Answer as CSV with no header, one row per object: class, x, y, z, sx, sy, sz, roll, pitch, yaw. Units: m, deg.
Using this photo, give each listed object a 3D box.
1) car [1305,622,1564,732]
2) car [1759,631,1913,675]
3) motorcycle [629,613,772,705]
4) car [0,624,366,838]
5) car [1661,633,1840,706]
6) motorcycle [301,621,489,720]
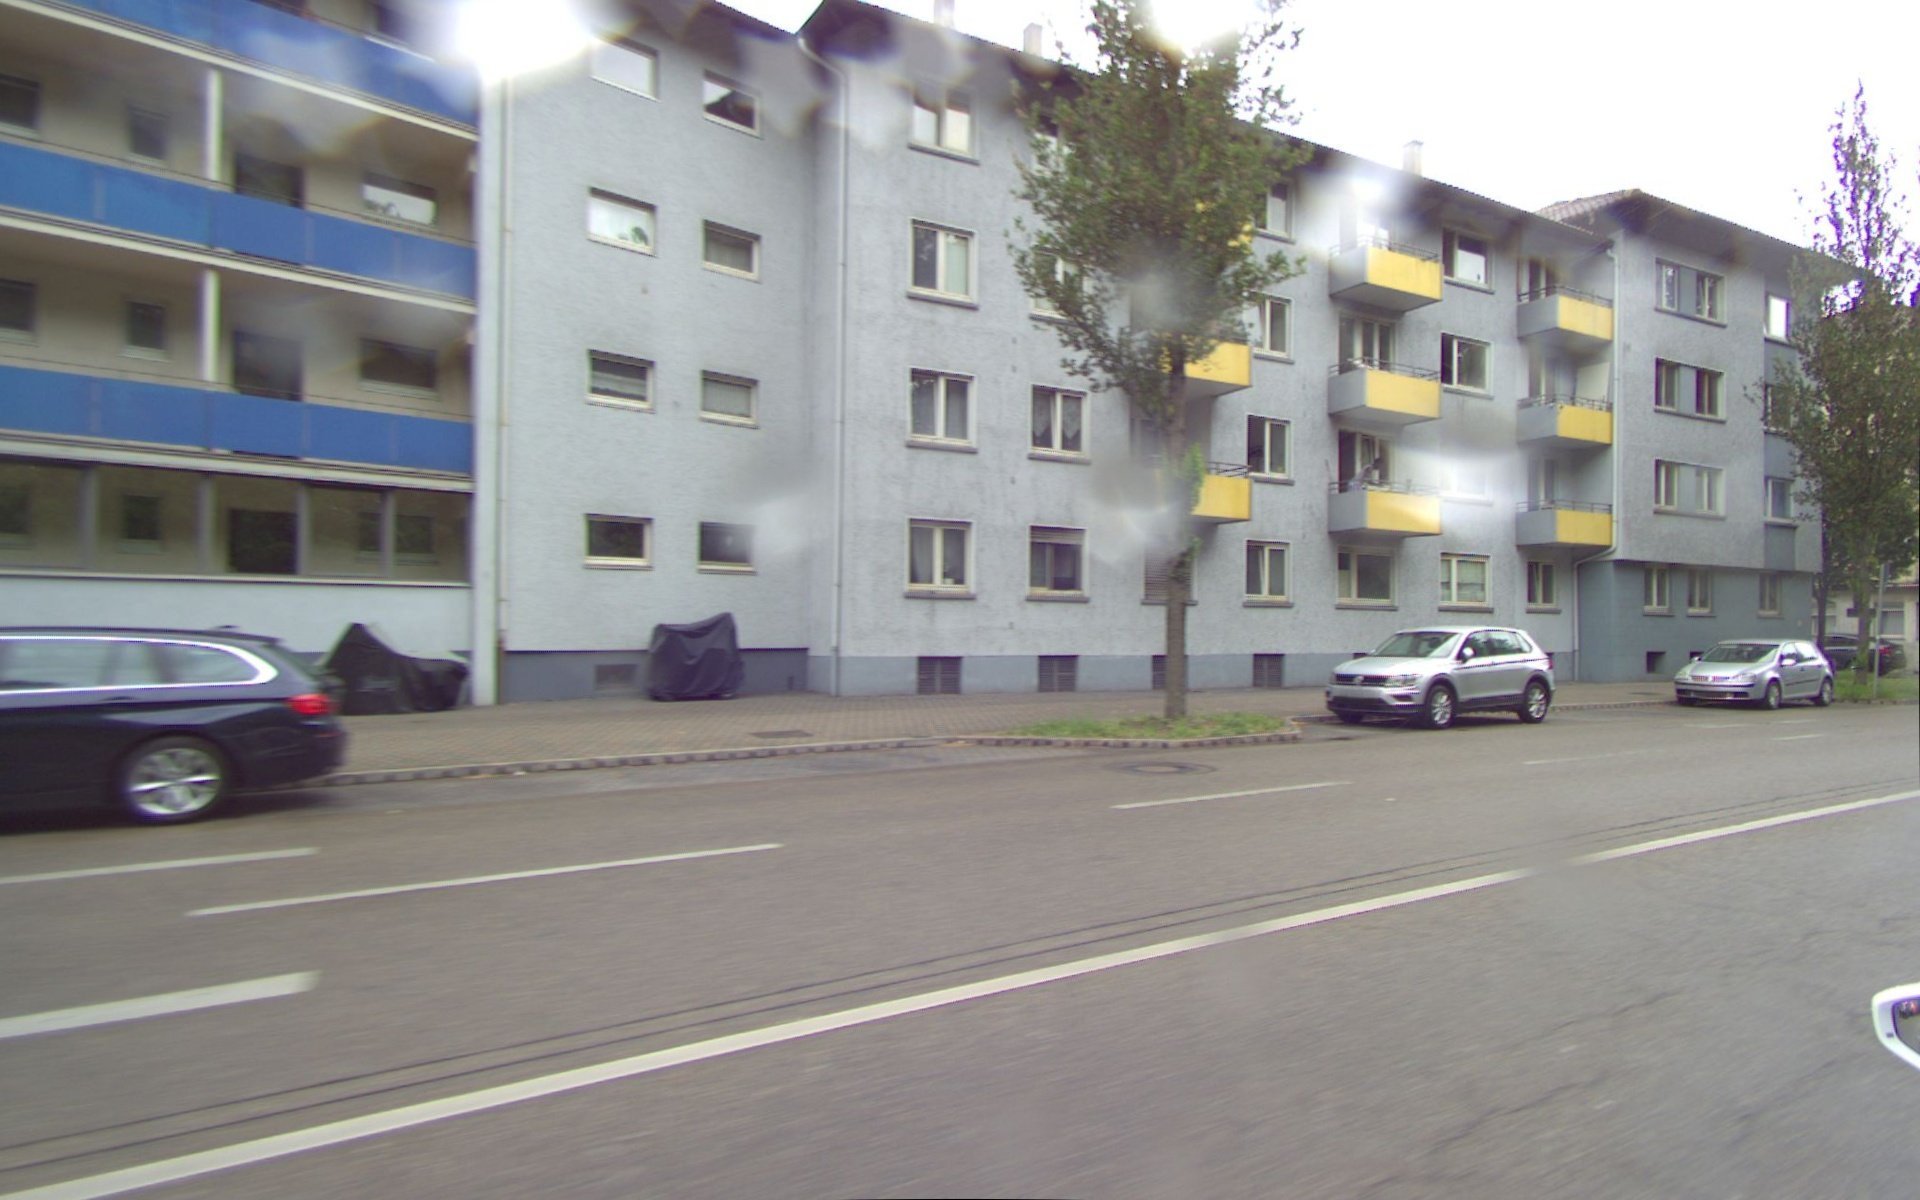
car,8.001,1.214,16.820,4.482,1.625,1.755,1,-2,-31
car,34.175,2.012,39.303,1.901,1.600,4.136,0,-1,-26
motorcycle,-4.341,0.967,16.912,2.217,1.433,0.669,2,1,-39
car,-7.265,0.927,7.480,4.839,1.458,1.811,2,-4,-32
car,17.453,1.482,22.153,4.156,1.472,1.716,2,-2,-31
motorcycle,-7.891,0.954,14.091,2.215,1.271,0.670,1,1,-37
